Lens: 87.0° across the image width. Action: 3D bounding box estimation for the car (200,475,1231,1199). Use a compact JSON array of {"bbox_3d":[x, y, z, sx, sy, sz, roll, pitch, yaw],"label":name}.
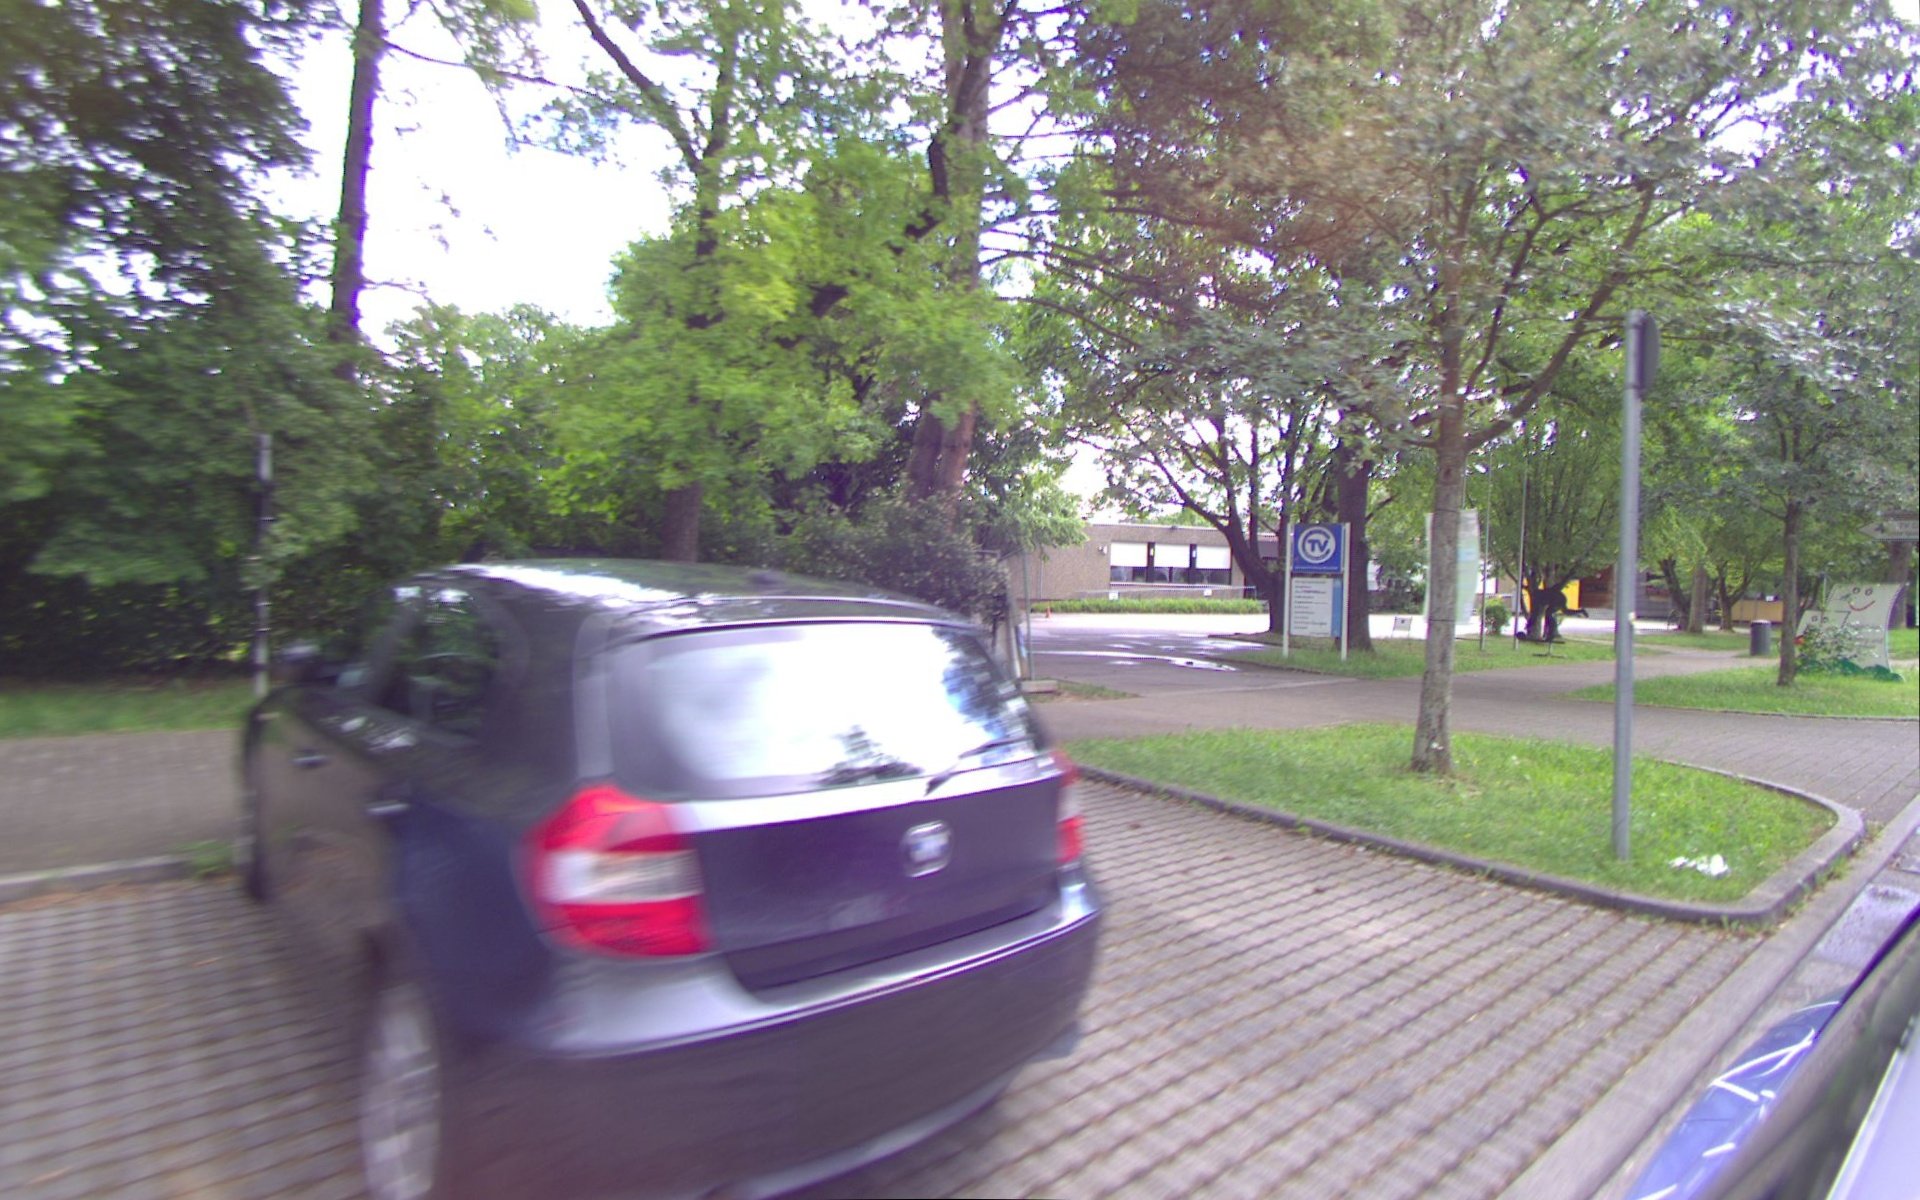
[{"bbox_3d":[-1.336,0.479,3.516,1.755,1.482,4.093,0,2,-42],"label":"car"}]
